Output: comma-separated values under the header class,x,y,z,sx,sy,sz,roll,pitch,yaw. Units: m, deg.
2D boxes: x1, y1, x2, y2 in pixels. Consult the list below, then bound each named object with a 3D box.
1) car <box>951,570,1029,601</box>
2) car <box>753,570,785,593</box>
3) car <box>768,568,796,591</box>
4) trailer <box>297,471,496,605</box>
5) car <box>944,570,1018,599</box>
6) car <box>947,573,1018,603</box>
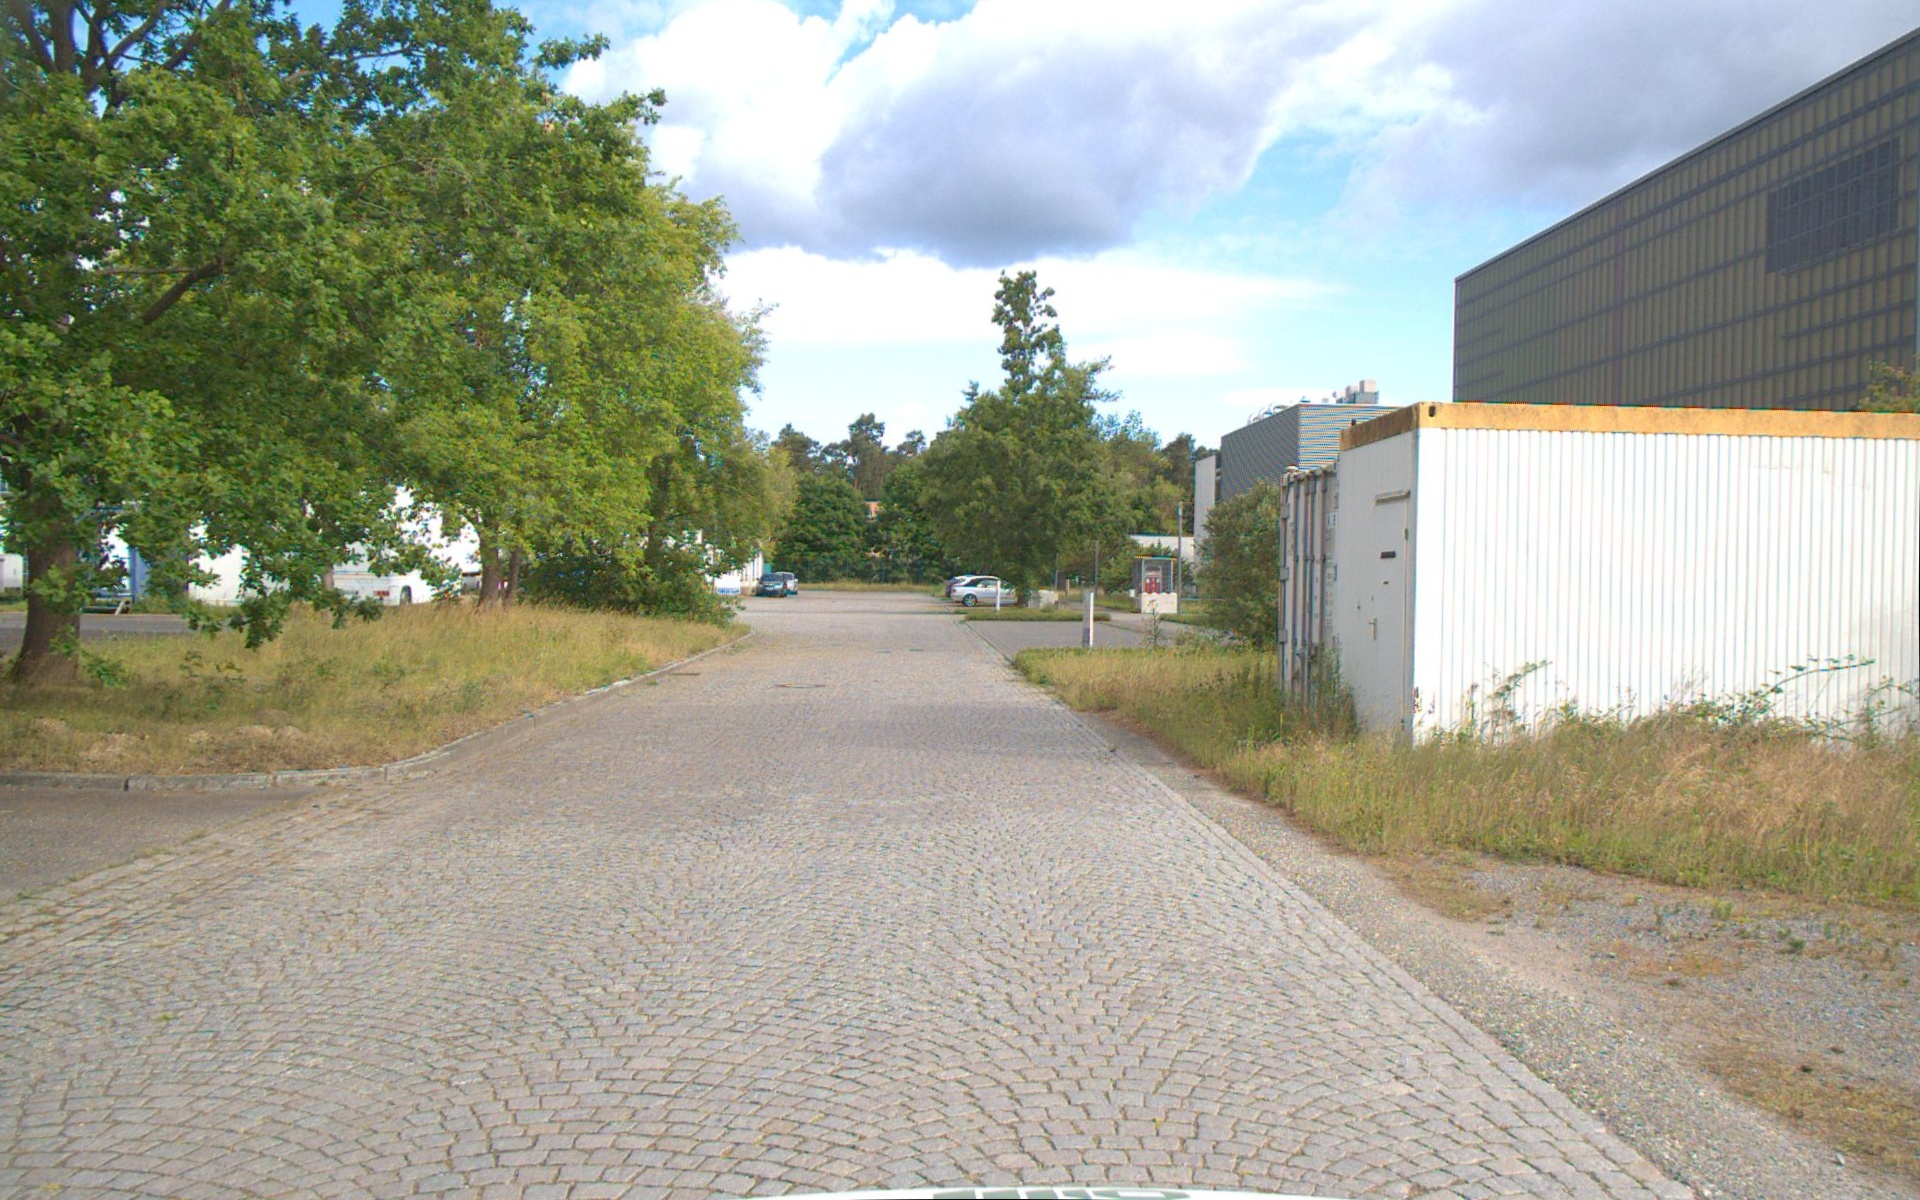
class,x,y,z,sx,sy,sz,roll,pitch,yaw
car,1.532,-0.755,84.407,3.904,1.473,1.653,-1,1,-2
car,-11.857,-1.161,102.709,1.614,1.393,3.996,1,1,-2
car,-12.144,-1.397,113.043,1.614,1.483,3.996,1,1,-2
trailer,-16.997,-1.790,50.817,2.572,3.660,10.177,1,1,0
car,1.104,-0.840,89.523,3.904,1.501,1.653,-1,1,-2
car,1.104,-0.594,81.695,3.451,1.386,1.622,-1,1,-2
